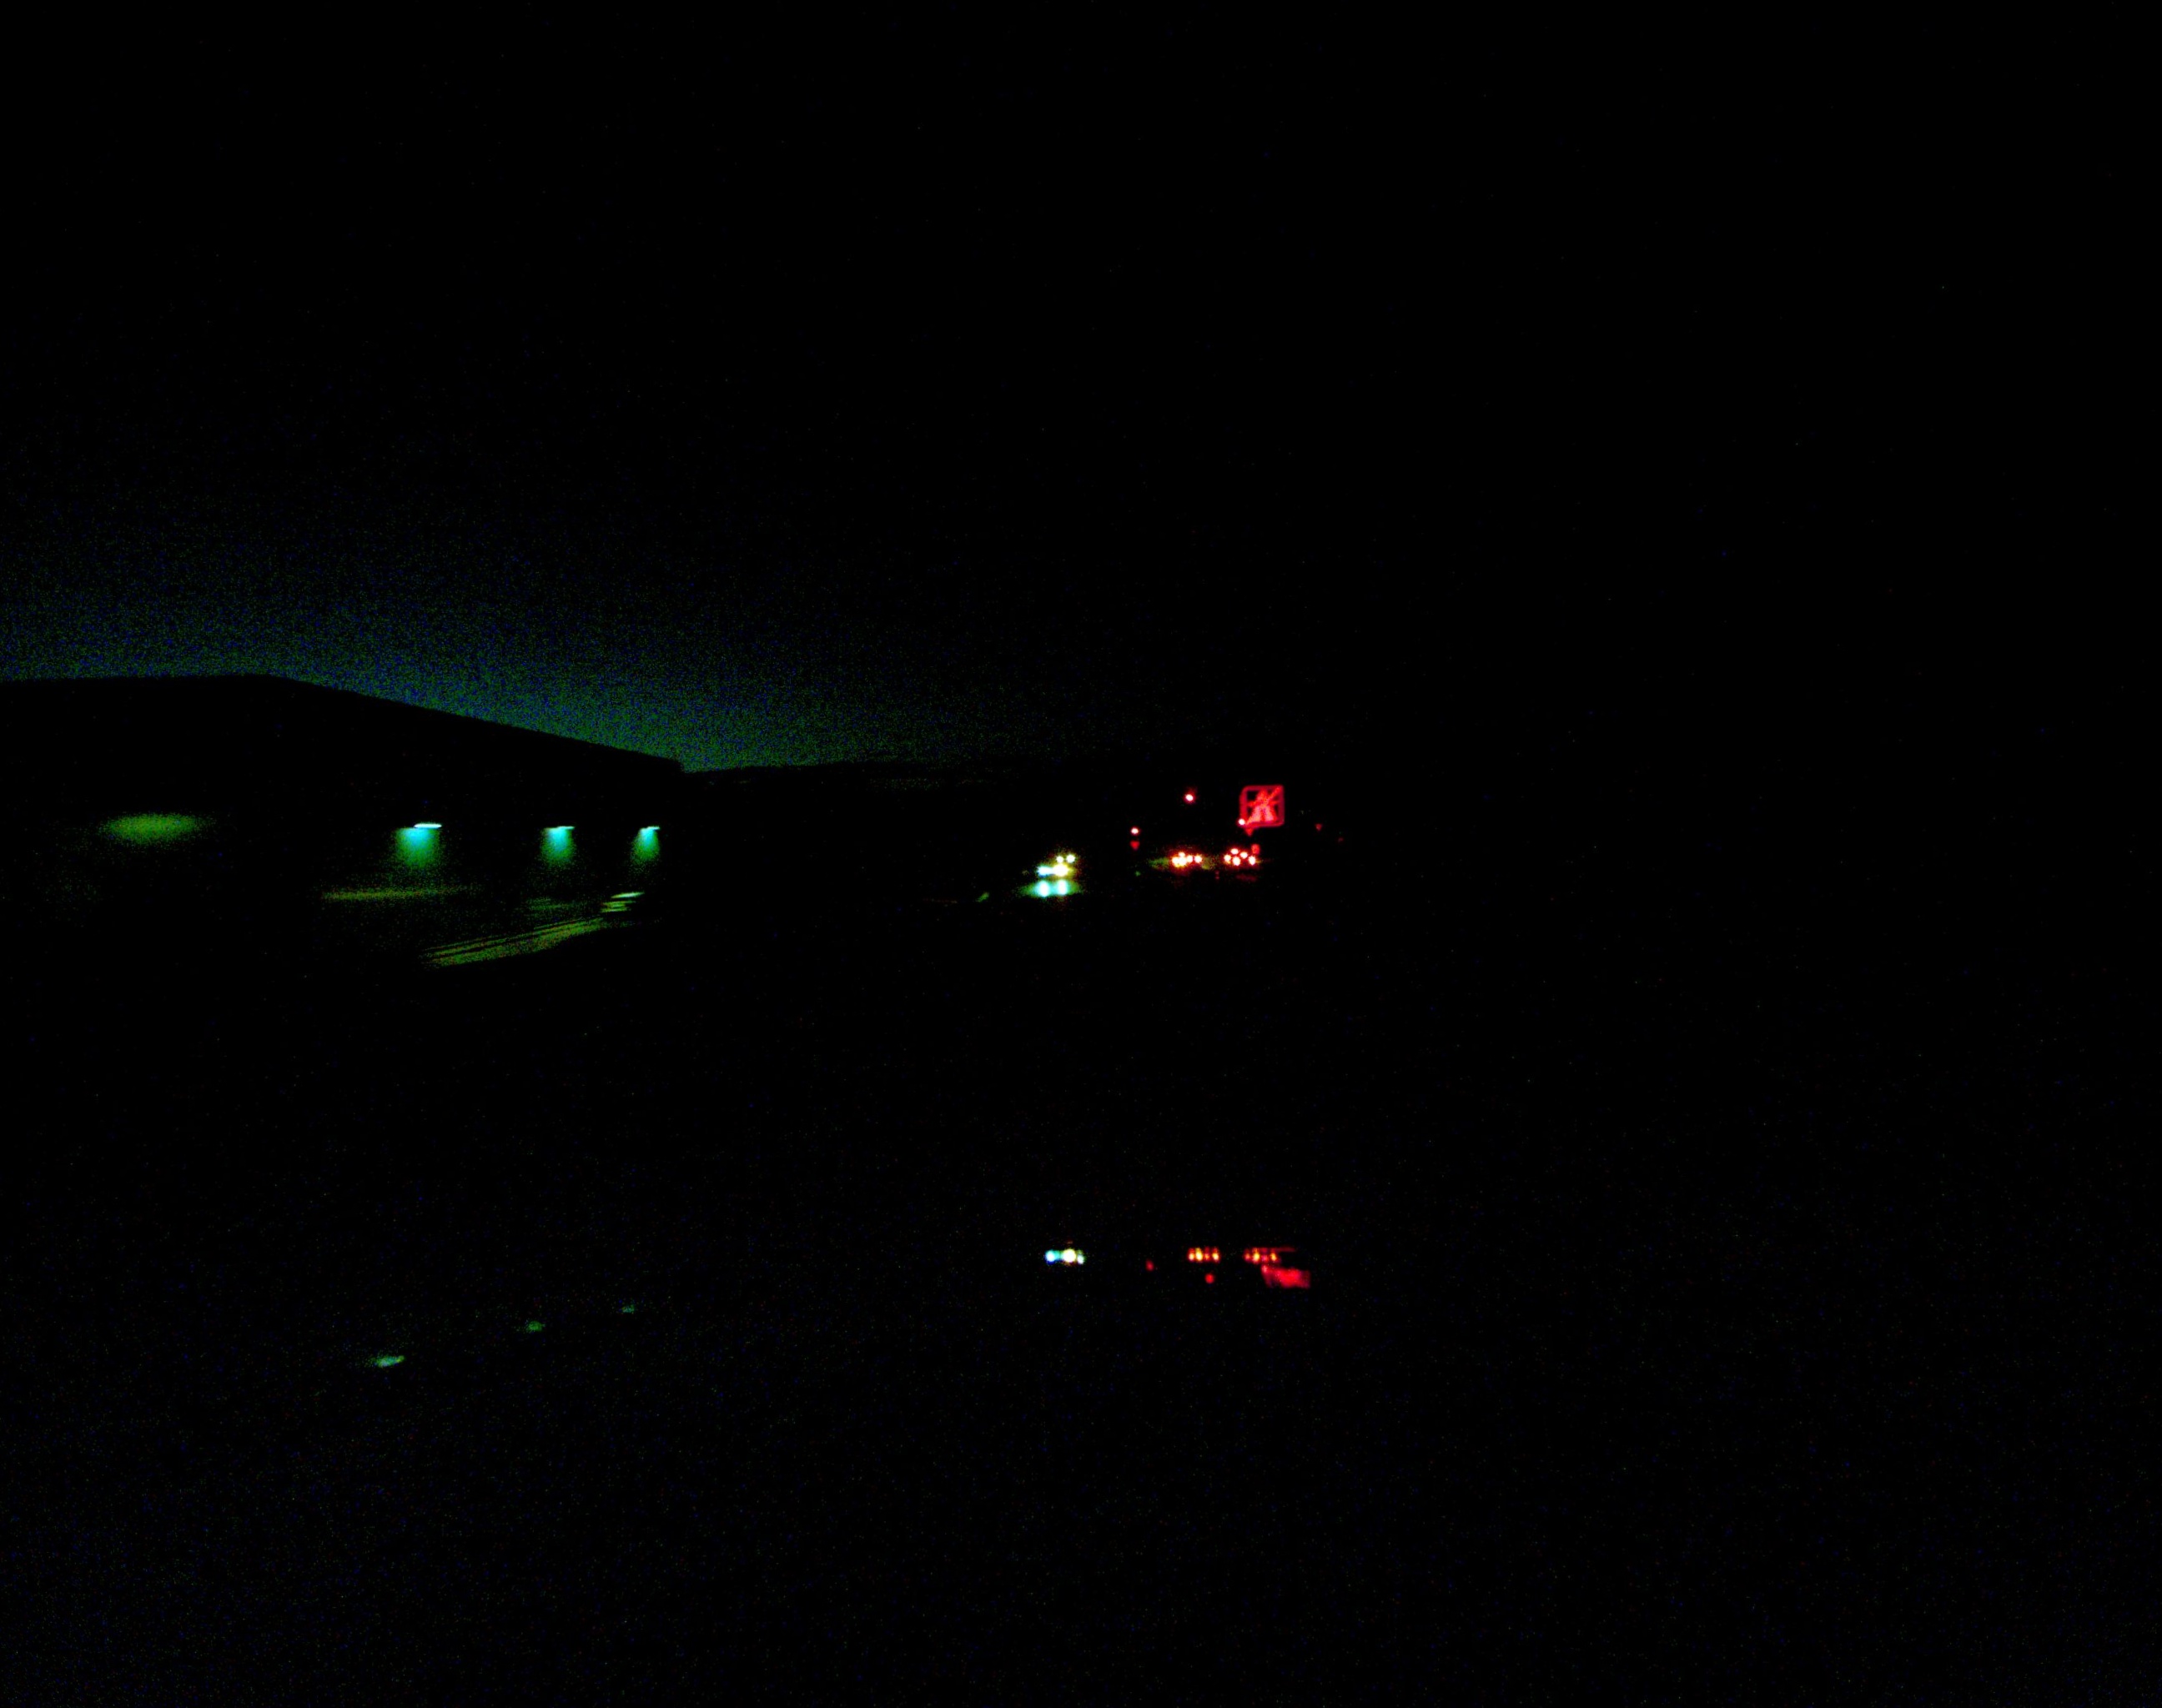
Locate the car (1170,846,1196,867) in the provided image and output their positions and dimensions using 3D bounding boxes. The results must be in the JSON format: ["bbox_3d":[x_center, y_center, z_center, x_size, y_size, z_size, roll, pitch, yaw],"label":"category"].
[{"bbox_3d":[8.894,0.186,66.456,1.703,1.467,3.868,-4,3,1],"label":"car"}]

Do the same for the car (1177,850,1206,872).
[{"bbox_3d":[8.503,0.509,58.665,1.714,1.436,3.985,-3,1,3],"label":"car"}]

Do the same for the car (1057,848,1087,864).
[{"bbox_3d":[-0.870,0.166,79.129,1.654,1.442,3.494,-3,1,26],"label":"car"}]

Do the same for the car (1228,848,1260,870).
[{"bbox_3d":[12.266,0.322,57.382,1.687,1.451,3.812,-2,2,3],"label":"car"}]

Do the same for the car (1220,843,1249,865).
[{"bbox_3d":[12.894,-0.027,63.991,1.758,1.452,3.999,-5,3,3],"label":"car"}]

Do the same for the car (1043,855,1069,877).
[{"bbox_3d":[-1.951,0.940,60.536,1.762,1.451,4.192,-3,1,1],"label":"car"}]
